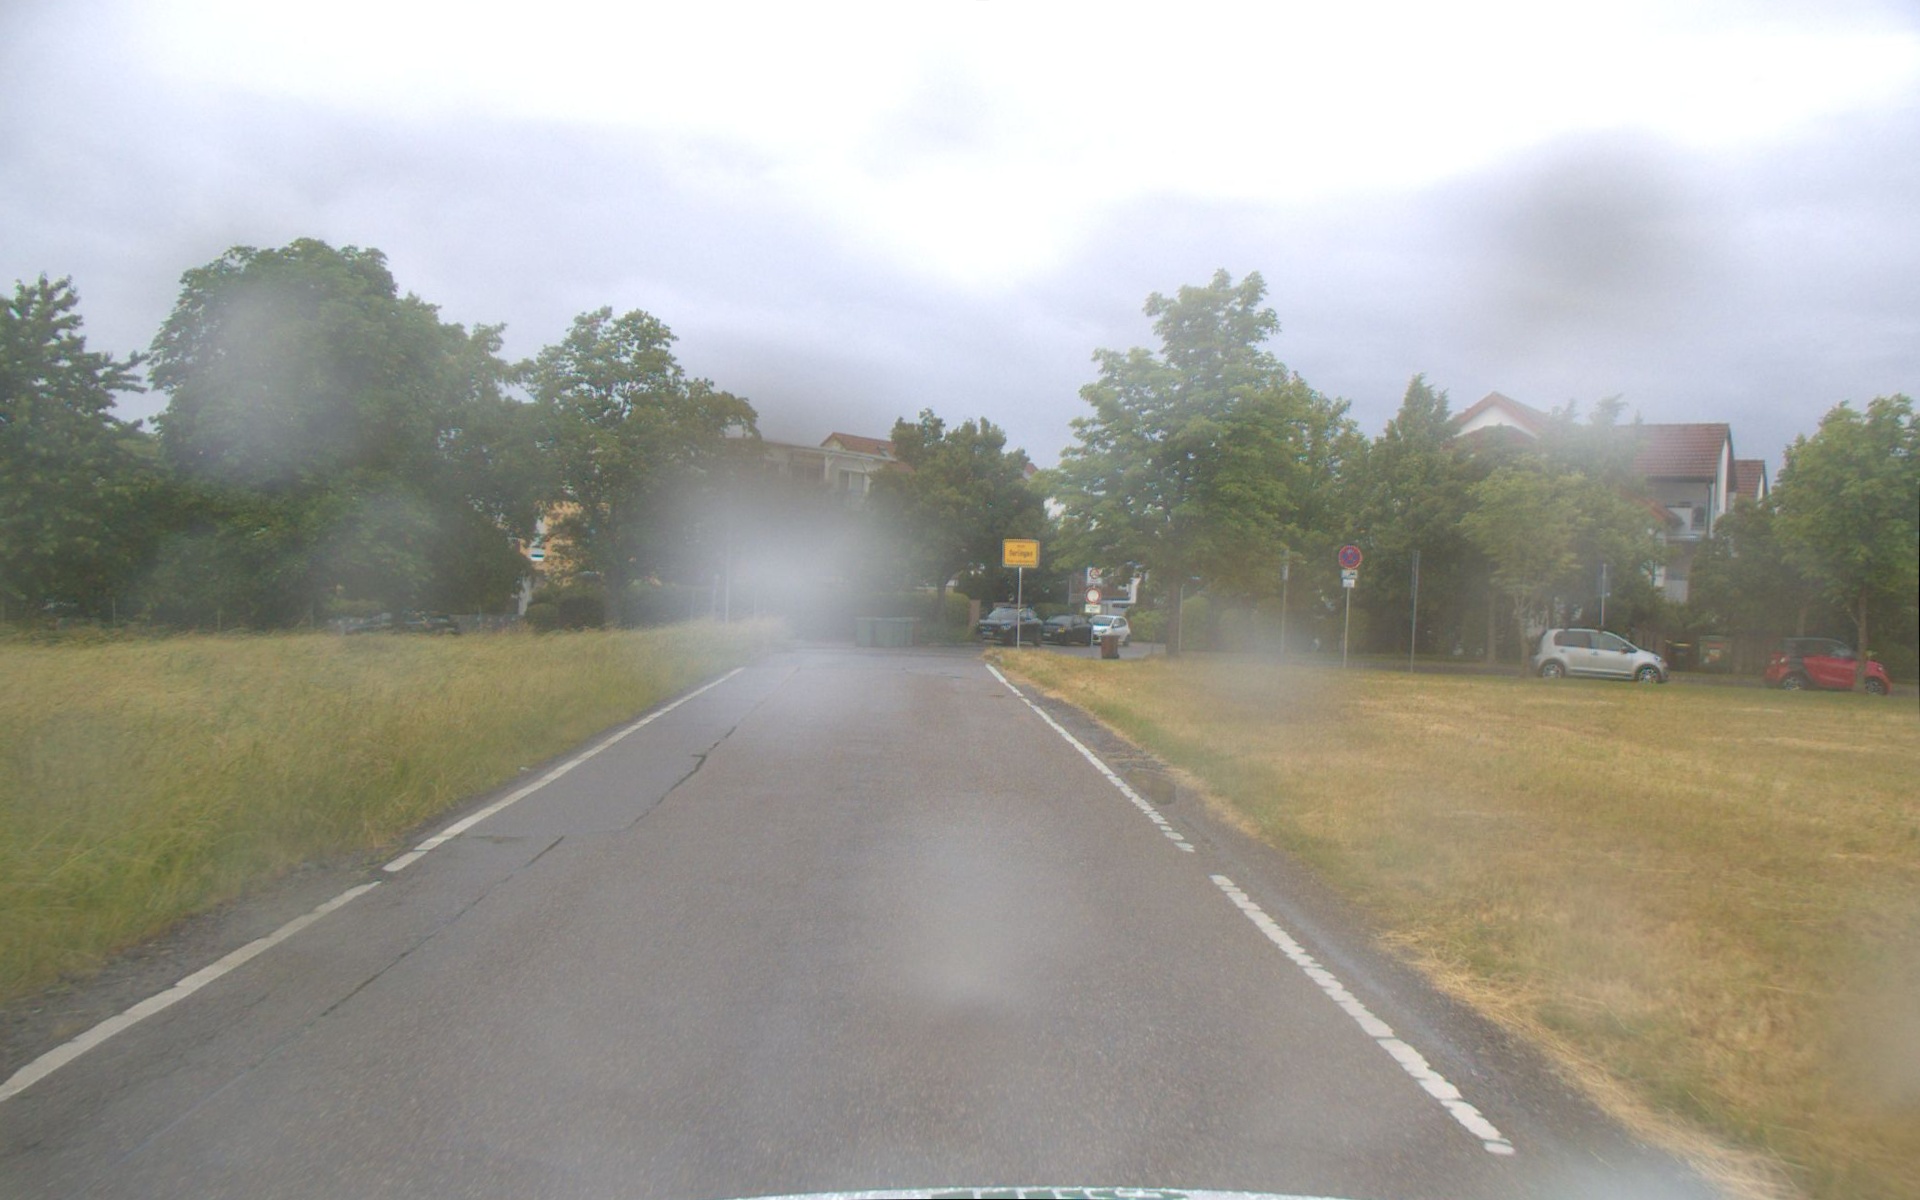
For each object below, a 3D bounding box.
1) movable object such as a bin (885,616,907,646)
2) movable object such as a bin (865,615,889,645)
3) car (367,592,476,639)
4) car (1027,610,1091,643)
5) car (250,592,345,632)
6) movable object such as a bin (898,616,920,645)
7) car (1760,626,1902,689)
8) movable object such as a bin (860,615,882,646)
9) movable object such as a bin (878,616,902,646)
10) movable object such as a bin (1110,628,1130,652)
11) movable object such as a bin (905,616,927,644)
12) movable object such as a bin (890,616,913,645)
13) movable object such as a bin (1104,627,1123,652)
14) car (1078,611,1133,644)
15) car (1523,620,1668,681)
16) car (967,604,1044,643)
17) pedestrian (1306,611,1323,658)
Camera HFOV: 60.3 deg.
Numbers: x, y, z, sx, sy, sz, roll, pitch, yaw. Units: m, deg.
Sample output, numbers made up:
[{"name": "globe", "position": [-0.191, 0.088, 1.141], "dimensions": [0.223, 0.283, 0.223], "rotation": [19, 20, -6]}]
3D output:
[{"name": "movable object such as a bin", "position": [-2.386, 1.147, 61.635], "dimensions": [0.680, 1.093, 0.544], "rotation": [1, 0, 19]}, {"name": "movable object such as a bin", "position": [-3.103, 1.122, 61.822], "dimensions": [0.680, 1.091, 0.598], "rotation": [1, 0, 19]}, {"name": "car", "position": [-19.442, 0.564, 59.716], "dimensions": [3.614, 1.579, 1.689], "rotation": [1, -1, 28]}, {"name": "car", "position": [4.691, 1.263, 77.876], "dimensions": [1.604, 1.433, 3.599], "rotation": [4, 0, 28]}, {"name": "car", "position": [-27.066, 0.494, 67.571], "dimensions": [3.642, 1.529, 1.609], "rotation": [-1, -2, 27]}, {"name": "movable object such as a bin", "position": [-1.937, 1.149, 62.830], "dimensions": [0.680, 1.073, 0.605], "rotation": [1, 0, 19]}, {"name": "car", "position": [22.527, 1.487, 42.875], "dimensions": [2.939, 1.461, 1.555], "rotation": [2, -1, 15]}, {"name": "movable object such as a bin", "position": [-3.295, 1.126, 61.249], "dimensions": [0.651, 1.092, 0.544], "rotation": [1, 0, 19]}, {"name": "movable object such as a bin", "position": [-2.586, 1.145, 61.048], "dimensions": [0.680, 1.093, 0.602], "rotation": [1, 0, 19]}, {"name": "movable object such as a bin", "position": [6.345, 1.587, 65.510], "dimensions": [0.560, 0.947, 0.529], "rotation": [2, -1, 32]}, {"name": "movable object such as a bin", "position": [-1.685, 1.152, 63.485], "dimensions": [0.680, 1.073, 0.605], "rotation": [1, 0, 19]}, {"name": "movable object such as a bin", "position": [-2.187, 1.147, 62.225], "dimensions": [0.680, 1.086, 0.579], "rotation": [1, 0, 19]}, {"name": "movable object such as a bin", "position": [6.039, 1.568, 65.006], "dimensions": [0.560, 0.947, 0.529], "rotation": [2, -1, 32]}, {"name": "car", "position": [7.256, 1.381, 82.384], "dimensions": [1.483, 1.502, 3.267], "rotation": [4, 0, 29]}, {"name": "car", "position": [16.962, 1.346, 44.285], "dimensions": [3.468, 1.505, 1.681], "rotation": [1, -1, 16]}, {"name": "car", "position": [2.024, 1.047, 72.690], "dimensions": [1.741, 1.545, 4.133], "rotation": [4, 0, 26]}, {"name": "pedestrian", "position": [15.643, 1.507, 73.026], "dimensions": [0.548, 2.049, 0.523], "rotation": [1, 0, 33]}]
